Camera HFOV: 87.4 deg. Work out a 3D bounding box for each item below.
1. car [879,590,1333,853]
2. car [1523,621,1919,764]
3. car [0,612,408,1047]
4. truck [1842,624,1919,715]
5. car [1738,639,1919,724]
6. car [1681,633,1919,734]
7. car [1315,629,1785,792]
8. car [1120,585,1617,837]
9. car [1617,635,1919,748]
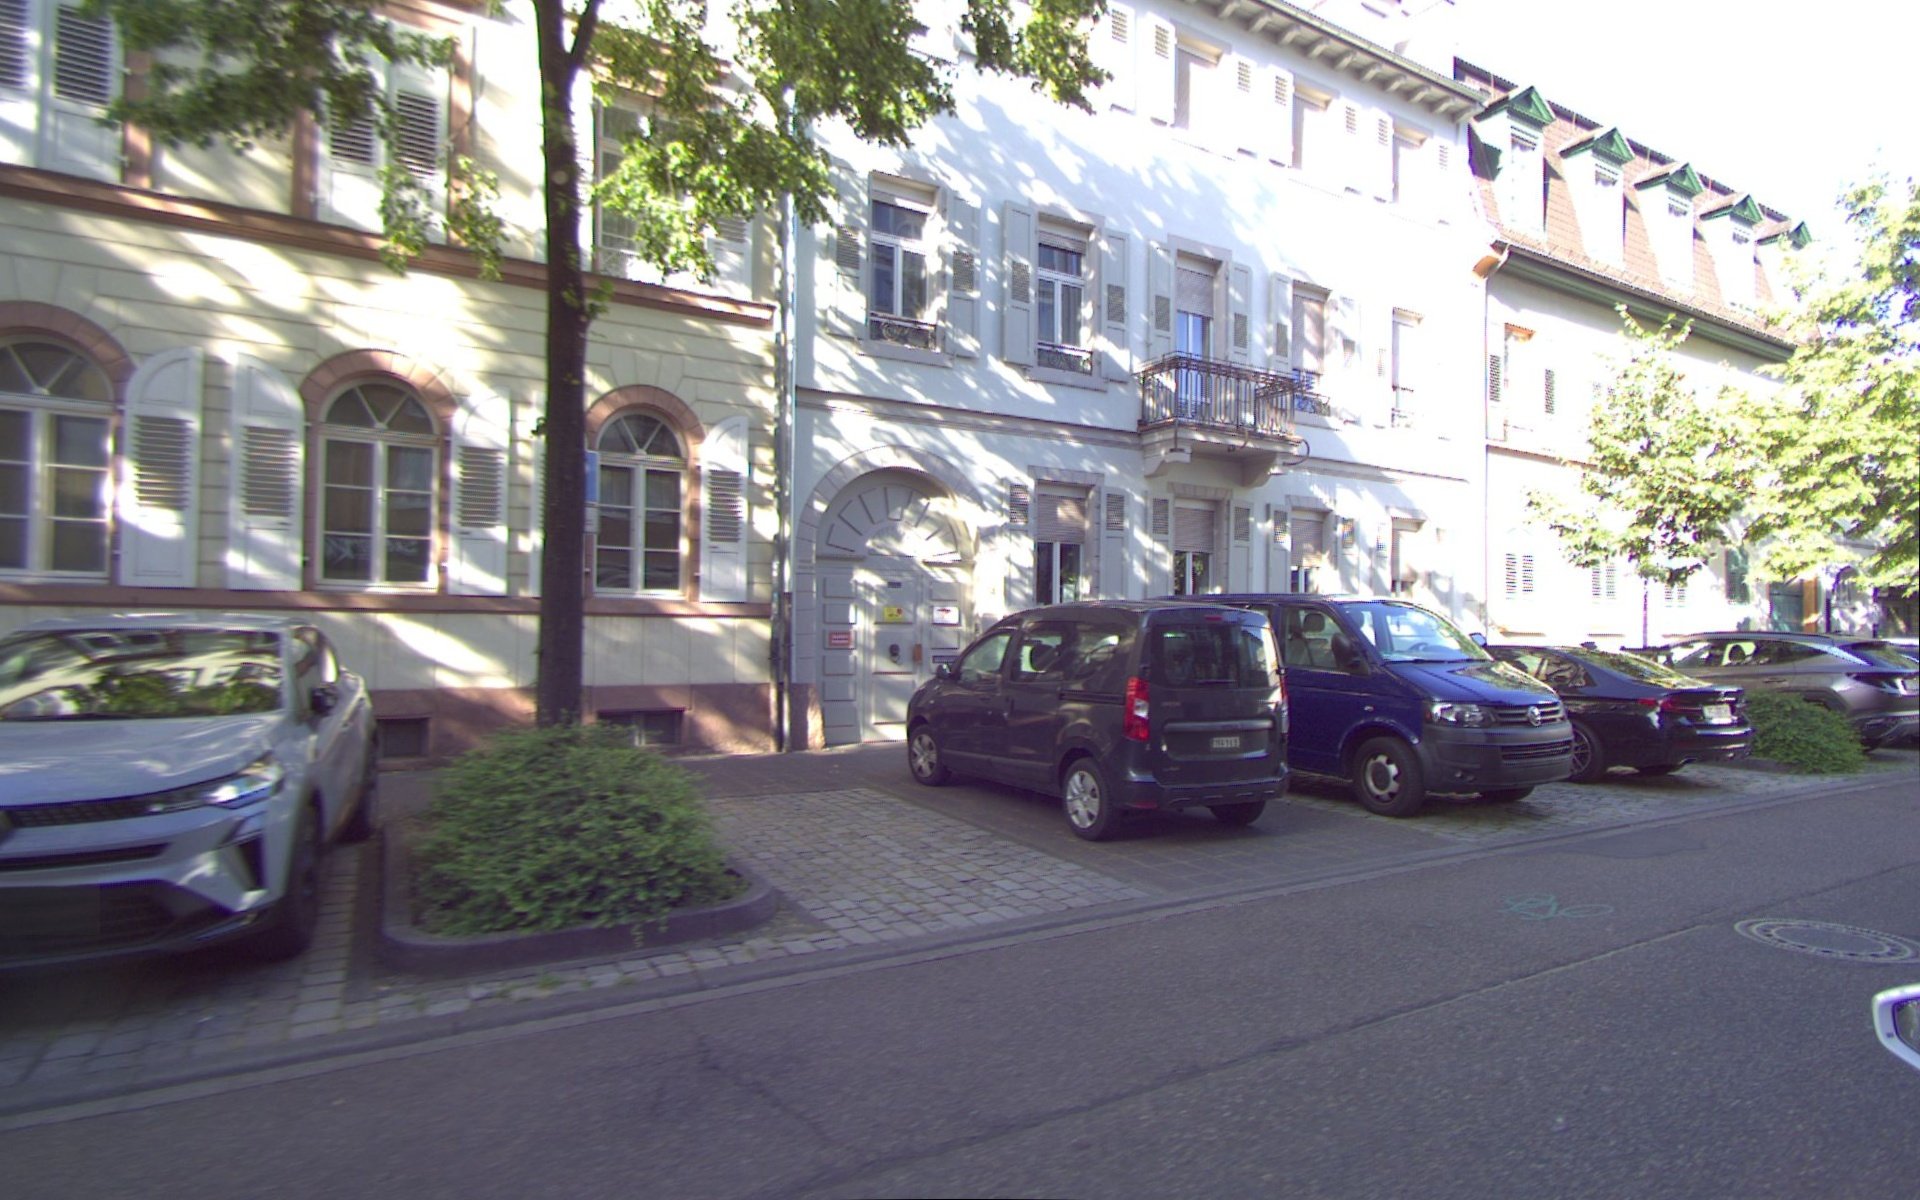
[{"bbox_3d":[1.012,0.889,9.281,1.893,1.795,4.448,2,-2,-28],"label":"car"},{"bbox_3d":[11.077,1.197,14.796,1.786,1.735,4.662,2,-2,-28],"label":"car"},{"bbox_3d":[-4.406,0.865,5.639,1.890,1.561,4.454,2,-2,-24],"label":"car"},{"bbox_3d":[22.264,1.491,21.234,1.977,1.963,5.061,1,-3,-30],"label":"truck"},{"bbox_3d":[17.841,1.534,18.993,1.786,1.482,4.662,2,-2,-28],"label":"car"},{"bbox_3d":[15.776,1.420,17.747,1.786,1.593,4.662,2,-2,-28],"label":"car"},{"bbox_3d":[6.641,1.125,11.929,1.664,1.478,4.625,2,-2,-29],"label":"car"},{"bbox_3d":[3.840,0.931,10.412,1.893,1.975,4.662,2,-2,-28],"label":"car"},{"bbox_3d":[13.494,1.374,16.150,1.786,1.539,4.662,2,-2,-28],"label":"car"}]
